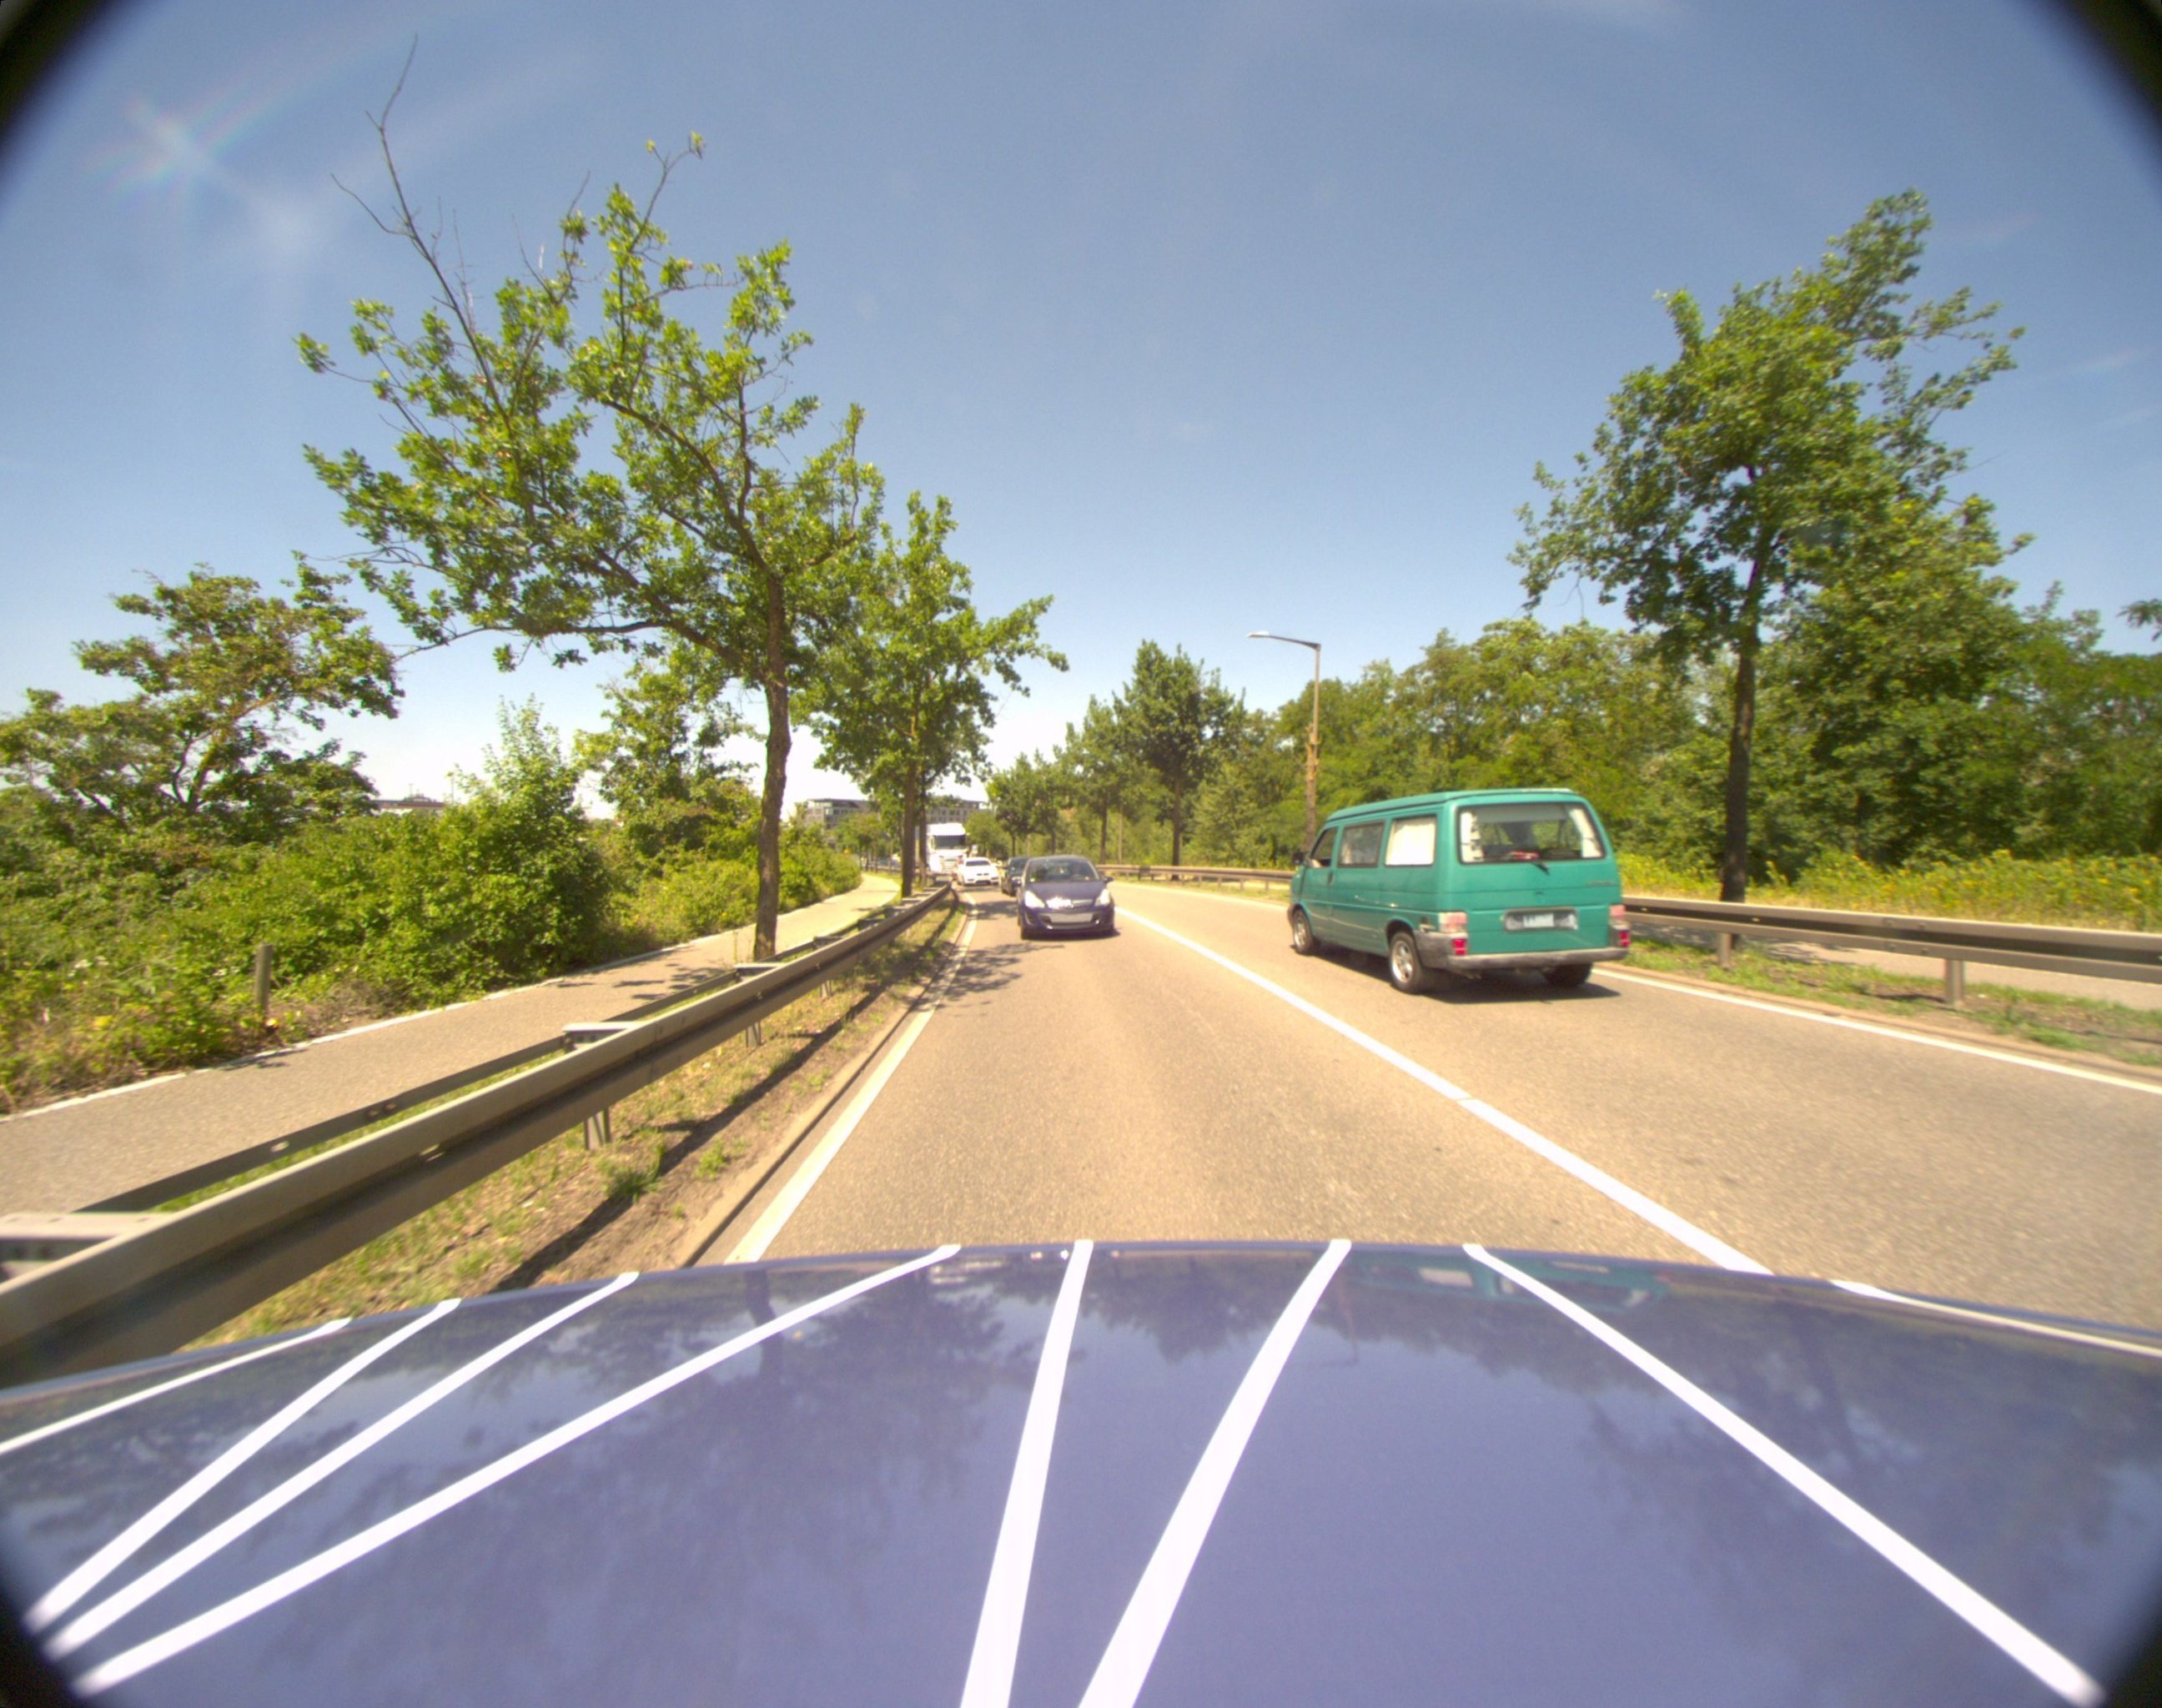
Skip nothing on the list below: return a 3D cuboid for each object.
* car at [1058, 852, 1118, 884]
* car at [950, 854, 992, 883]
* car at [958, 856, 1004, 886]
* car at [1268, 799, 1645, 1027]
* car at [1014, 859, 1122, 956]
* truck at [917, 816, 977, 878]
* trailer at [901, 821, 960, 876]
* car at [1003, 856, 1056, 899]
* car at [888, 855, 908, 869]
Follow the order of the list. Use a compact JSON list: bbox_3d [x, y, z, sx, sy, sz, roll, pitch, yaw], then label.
[{"bbox_3d":[0.278,0.653,37.941,1.751,1.439,4.510,-2,1,-16],"label":"car"},{"bbox_3d":[-7.115,0.901,48.851,1.903,1.645,4.250,-2,2,-19],"label":"car"},{"bbox_3d":[-5.175,0.837,38.951,1.819,1.420,3.710,-2,0,-15],"label":"car"},{"bbox_3d":[3.872,0.495,8.994,1.835,1.927,4.773,-2,1,-4],"label":"car"},{"bbox_3d":[-0.387,0.877,14.480,1.699,1.459,4.381,-2,0,-5],"label":"car"},{"bbox_3d":[-10.176,-0.502,56.877,2.862,4.244,8.801,-2,1,-19],"label":"truck"},{"bbox_3d":[-13.266,-0.381,65.648,2.885,4.189,13.984,-2,0,-20],"label":"trailer"},{"bbox_3d":[-1.974,0.802,28.069,1.570,1.408,4.119,-2,0,-9],"label":"car"},{"bbox_3d":[-21.410,0.890,88.719,1.978,1.567,3.994,-2,1,-17],"label":"car"}]
